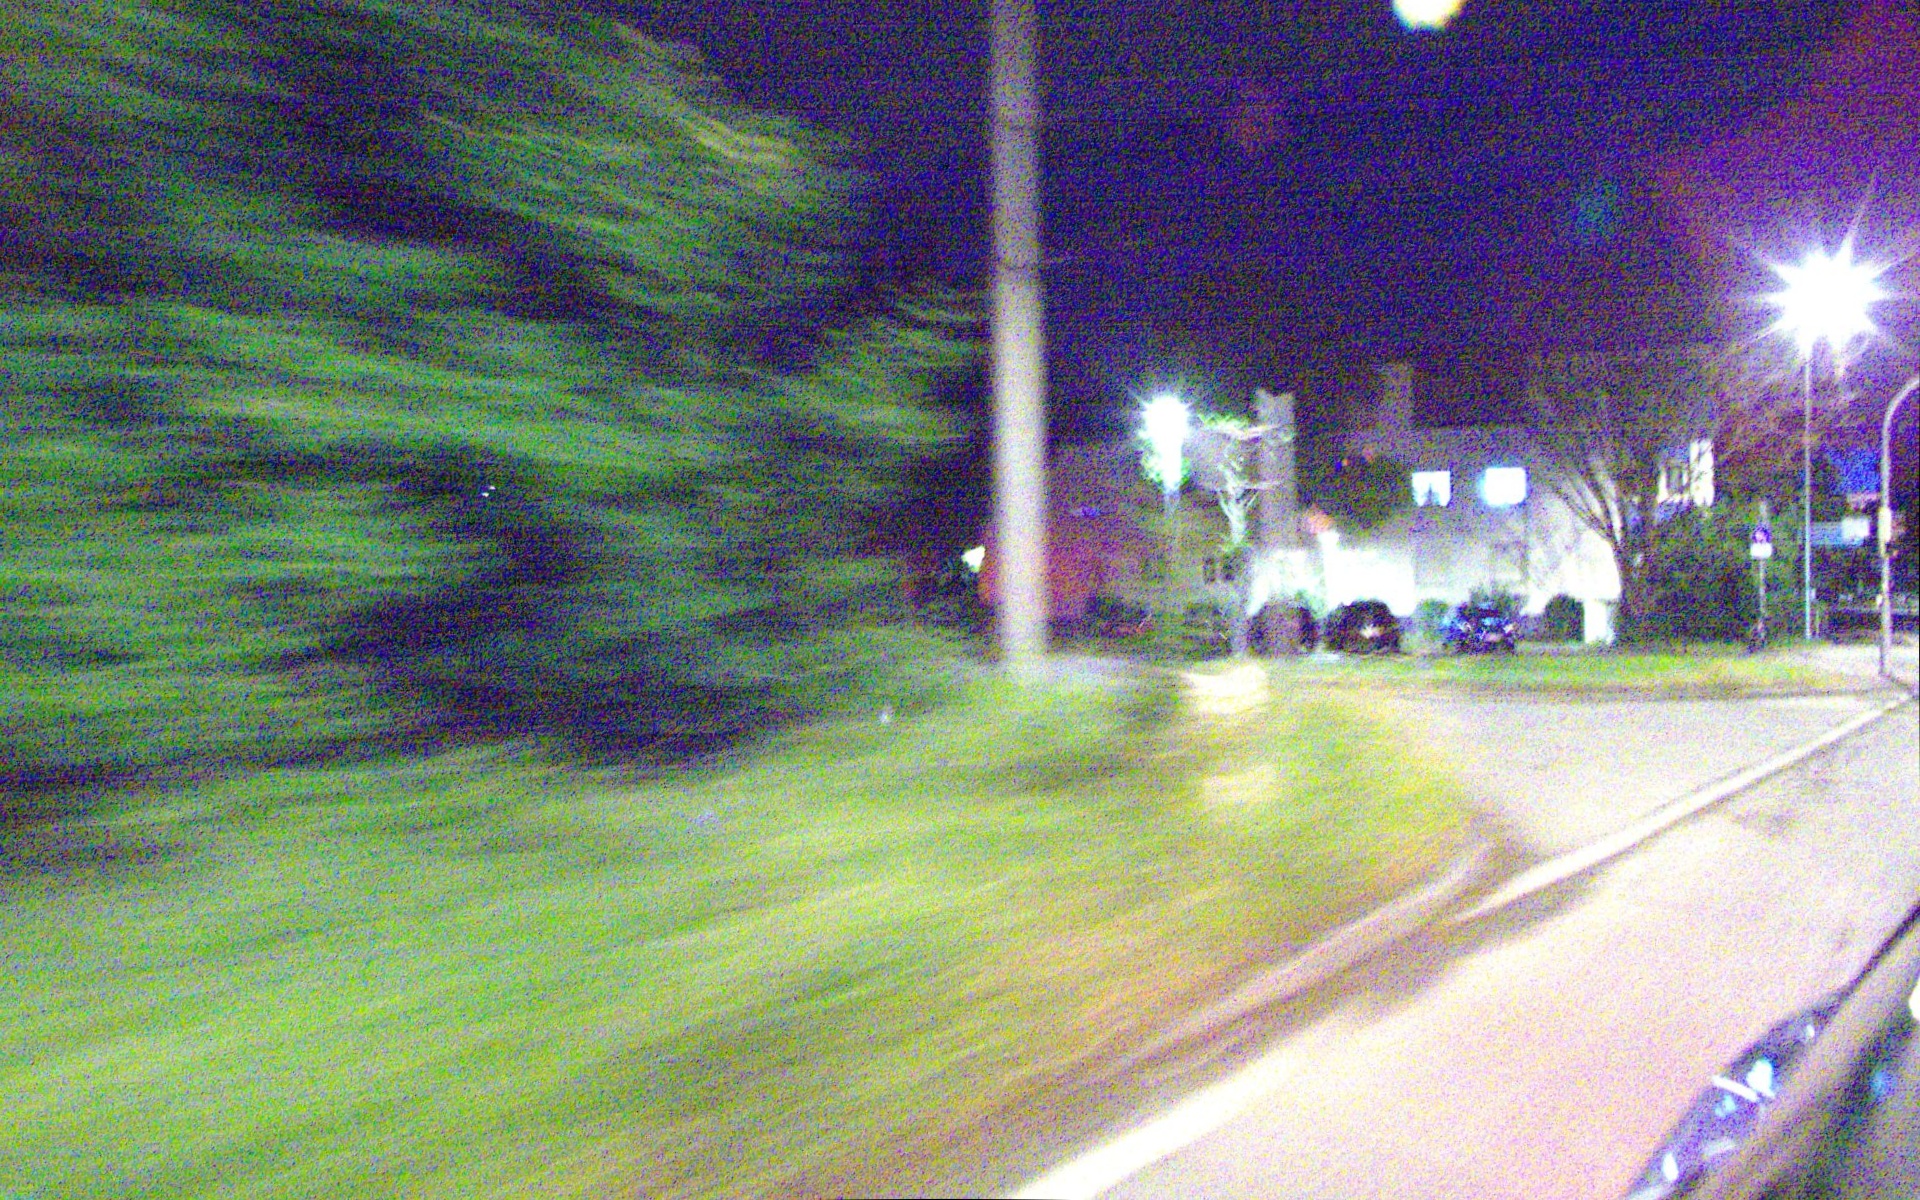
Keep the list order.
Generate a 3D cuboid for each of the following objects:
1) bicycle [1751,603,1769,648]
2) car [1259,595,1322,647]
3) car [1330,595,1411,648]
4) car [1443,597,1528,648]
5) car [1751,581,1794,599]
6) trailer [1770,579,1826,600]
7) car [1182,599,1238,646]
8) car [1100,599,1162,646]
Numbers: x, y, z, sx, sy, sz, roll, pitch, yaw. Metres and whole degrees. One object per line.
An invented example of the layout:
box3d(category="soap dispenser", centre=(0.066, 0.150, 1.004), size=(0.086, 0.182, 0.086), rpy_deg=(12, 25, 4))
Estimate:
box3d(category="bicycle", centre=(20.210, 0.629, 25.561), size=(0.295, 0.994, 1.918), rpy_deg=(-1, 3, 40))
box3d(category="car", centre=(11.042, 0.678, 34.009), size=(1.787, 1.636, 4.078), rpy_deg=(-1, -1, 16))
box3d(category="car", centre=(13.263, 0.671, 32.942), size=(1.896, 1.584, 4.389), rpy_deg=(-1, -1, 16))
box3d(category="car", centre=(16.847, 0.683, 32.597), size=(1.684, 1.524, 3.574), rpy_deg=(-2, -1, 16))
box3d(category="car", centre=(78.831, -1.009, 98.262), size=(1.700, 1.596, 4.510), rpy_deg=(2, 3, 18))
box3d(category="trailer", centre=(77.280, -0.979, 93.425), size=(2.004, 1.803, 5.643), rpy_deg=(1, 2, 17))
box3d(category="car", centre=(8.656, 0.743, 34.837), size=(1.737, 1.534, 3.851), rpy_deg=(-1, 0, 16))
box3d(category="car", centre=(6.043, 0.747, 35.434), size=(1.737, 1.564, 3.851), rpy_deg=(-1, 0, 16))
